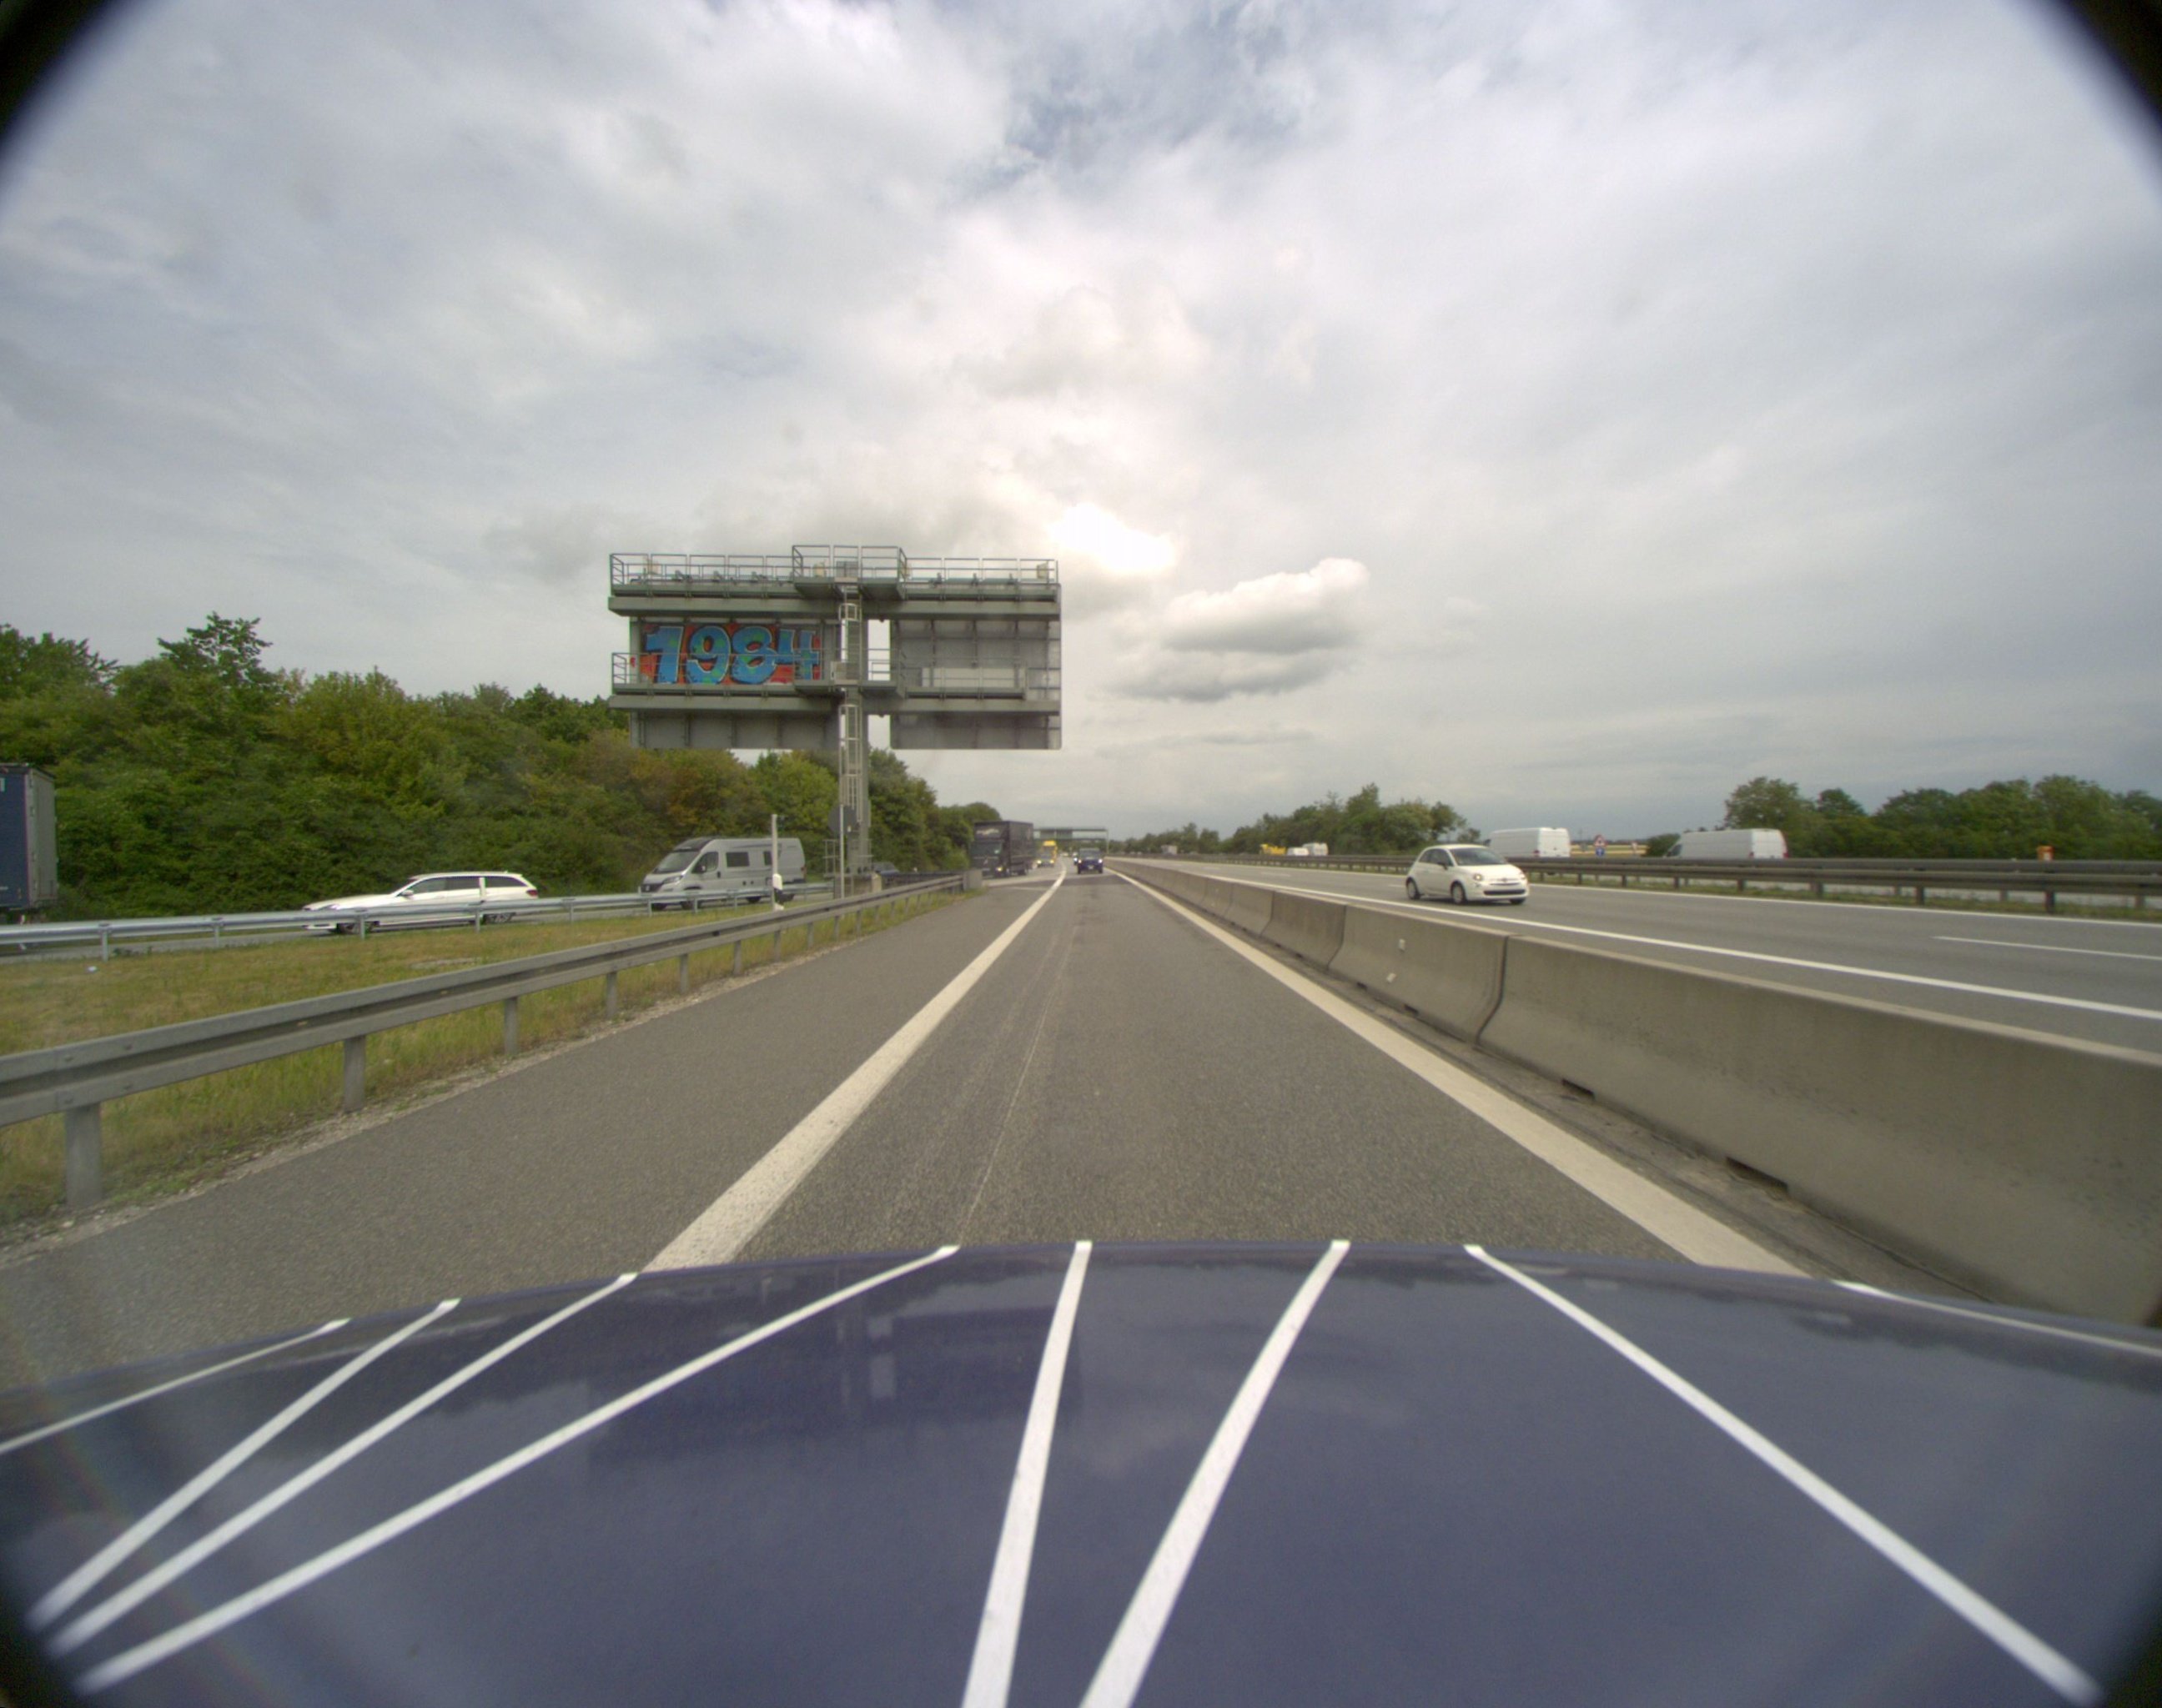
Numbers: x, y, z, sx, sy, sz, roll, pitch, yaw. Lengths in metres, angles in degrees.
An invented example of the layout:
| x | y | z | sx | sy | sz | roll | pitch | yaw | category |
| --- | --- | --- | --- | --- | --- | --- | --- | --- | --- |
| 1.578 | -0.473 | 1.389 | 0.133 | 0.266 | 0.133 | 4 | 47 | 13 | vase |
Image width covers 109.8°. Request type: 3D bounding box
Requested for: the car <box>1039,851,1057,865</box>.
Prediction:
| x | y | z | sx | sy | sz | roll | pitch | yaw | category |
| --- | --- | --- | --- | --- | --- | --- | --- | --- | --- |
| -3.671 | 0.456 | 83.349 | 1.866 | 1.434 | 3.998 | -2 | 1 | -3 | car |

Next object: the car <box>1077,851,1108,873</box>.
| x | y | z | sx | sy | sz | roll | pitch | yaw | category |
| --- | --- | --- | --- | --- | --- | --- | --- | --- | --- |
| 0.774 | 0.531 | 53.084 | 1.866 | 1.434 | 3.998 | -2 | 1 | -3 | car |

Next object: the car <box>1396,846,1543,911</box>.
| x | y | z | sx | sy | sz | roll | pitch | yaw | category |
| --- | --- | --- | --- | --- | --- | --- | --- | --- | --- |
| 9.802 | 0.555 | 19.506 | 1.685 | 1.476 | 3.773 | -1 | 1 | -3 | car |

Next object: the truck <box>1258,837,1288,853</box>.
| x | y | z | sx | sy | sz | roll | pitch | yaw | category |
| --- | --- | --- | --- | --- | --- | --- | --- | --- | --- |
| 34.551 | -1.557 | 137.050 | 2.914 | 2.758 | 8.779 | -1 | 0 | -1 | truck |

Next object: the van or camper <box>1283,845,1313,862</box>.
| x | y | z | sx | sy | sz | roll | pitch | yaw | category |
| --- | --- | --- | --- | --- | --- | --- | --- | --- | --- |
| 24.157 | -0.044 | 84.568 | 1.999 | 1.818 | 4.346 | -2 | 1 | -1 | van or camper |

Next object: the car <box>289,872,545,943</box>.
| x | y | z | sx | sy | sz | roll | pitch | yaw | category |
| --- | --- | --- | --- | --- | --- | --- | --- | --- | --- |
| -17.720 | 1.320 | 20.538 | 2.207 | 1.493 | 4.796 | -1 | 1 | 36 | car |

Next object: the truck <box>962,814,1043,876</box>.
| x | y | z | sx | sy | sz | roll | pitch | yaw | category |
| --- | --- | --- | --- | --- | --- | --- | --- | --- | --- |
| -5.284 | -0.620 | 53.934 | 3.022 | 3.931 | 10.346 | -2 | 1 | 9 | truck |

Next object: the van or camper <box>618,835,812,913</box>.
| x | y | z | sx | sy | sz | roll | pitch | yaw | category |
| --- | --- | --- | --- | --- | --- | --- | --- | --- | --- |
| -13.122 | 0.614 | 27.838 | 2.295 | 2.553 | 6.171 | -1 | 1 | 28 | van or camper |

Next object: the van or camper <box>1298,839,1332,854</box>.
| x | y | z | sx | sy | sz | roll | pitch | yaw | category |
| --- | --- | --- | --- | --- | --- | --- | --- | --- | --- |
| 31.986 | -1.022 | 103.992 | 2.241 | 2.002 | 6.275 | -1 | 0 | -4 | van or camper |

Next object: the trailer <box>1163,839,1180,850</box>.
| x | y | z | sx | sy | sz | roll | pitch | yaw | category |
| --- | --- | --- | --- | --- | --- | --- | --- | --- | --- |
| 26.874 | -2.807 | 225.947 | 3.206 | 3.250 | 9.821 | -2 | 1 | -3 | trailer |

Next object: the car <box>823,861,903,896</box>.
| x | y | z | sx | sy | sz | roll | pitch | yaw | category |
| --- | --- | --- | --- | --- | --- | --- | --- | --- | --- |
| -10.091 | 1.100 | 35.484 | 1.731 | 1.411 | 3.670 | -2 | 1 | 20 | car |

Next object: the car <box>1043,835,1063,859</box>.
| x | y | z | sx | sy | sz | roll | pitch | yaw | category |
| --- | --- | --- | --- | --- | --- | --- | --- | --- | --- |
| -5.579 | -1.448 | 152.244 | 3.395 | 4.458 | 11.605 | -2 | 1 | 1 | car |

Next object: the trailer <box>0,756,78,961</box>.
| x | y | z | sx | sy | sz | roll | pitch | yaw | category |
| --- | --- | --- | --- | --- | --- | --- | --- | --- | --- |
| -27.278 | 0.264 | 12.221 | 3.332 | 4.169 | 13.058 | -1 | 1 | 43 | trailer |

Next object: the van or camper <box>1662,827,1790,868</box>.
| x | y | z | sx | sy | sz | roll | pitch | yaw | category |
| --- | --- | --- | --- | --- | --- | --- | --- | --- | --- |
| 36.664 | -0.371 | 43.485 | 2.193 | 2.159 | 5.807 | -1 | 0 | -3 | van or camper |

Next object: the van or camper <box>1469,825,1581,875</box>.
| x | y | z | sx | sy | sz | roll | pitch | yaw | category |
| --- | --- | --- | --- | --- | --- | --- | --- | --- | --- |
| 25.572 | -0.227 | 44.192 | 2.193 | 2.604 | 6.902 | -1 | 0 | -3 | van or camper |
